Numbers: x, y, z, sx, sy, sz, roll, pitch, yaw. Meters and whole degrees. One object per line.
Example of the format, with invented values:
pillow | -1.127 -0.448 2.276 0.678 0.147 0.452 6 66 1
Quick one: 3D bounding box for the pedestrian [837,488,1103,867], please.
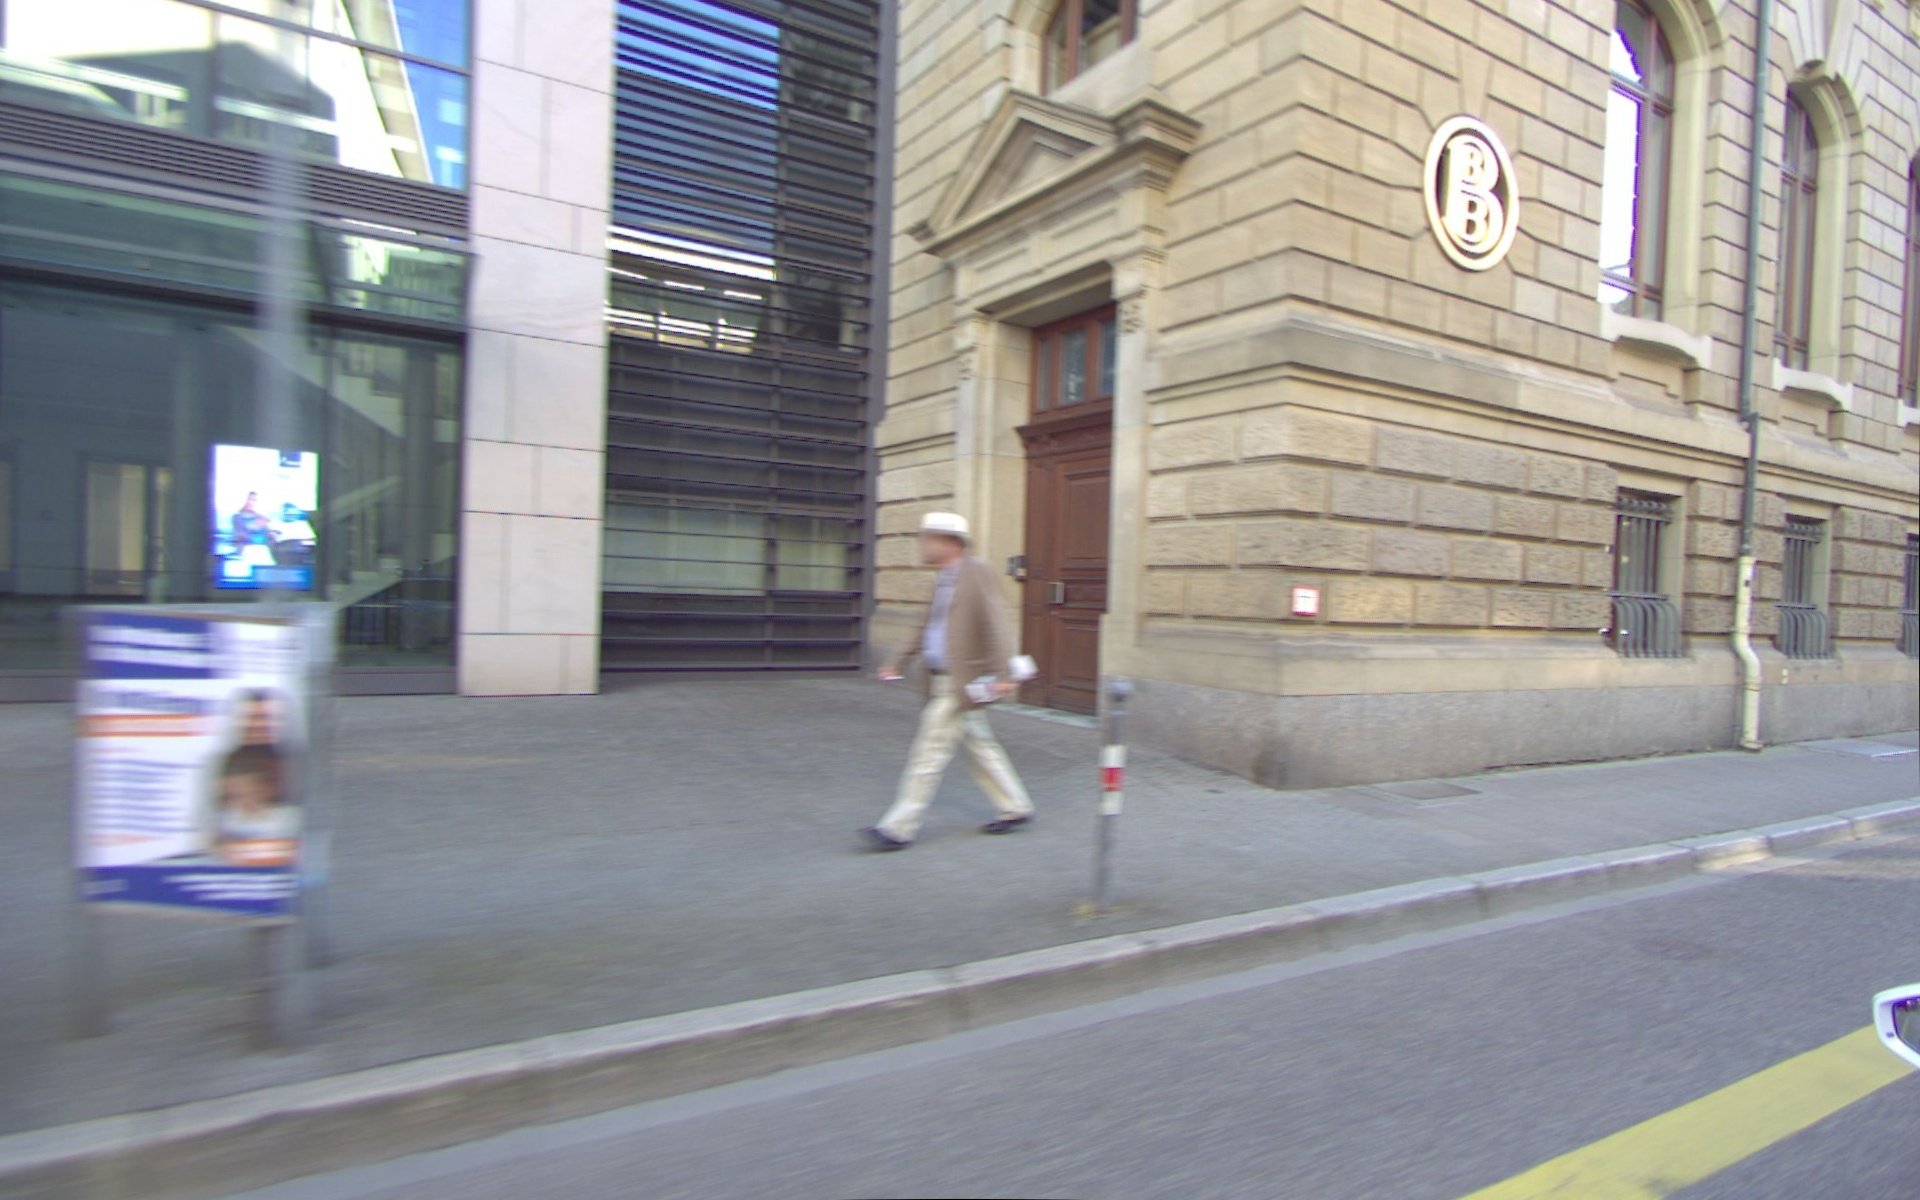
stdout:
pedestrian | 0.029 0.369 5.413 1.060 1.824 0.838 2 3 -27
